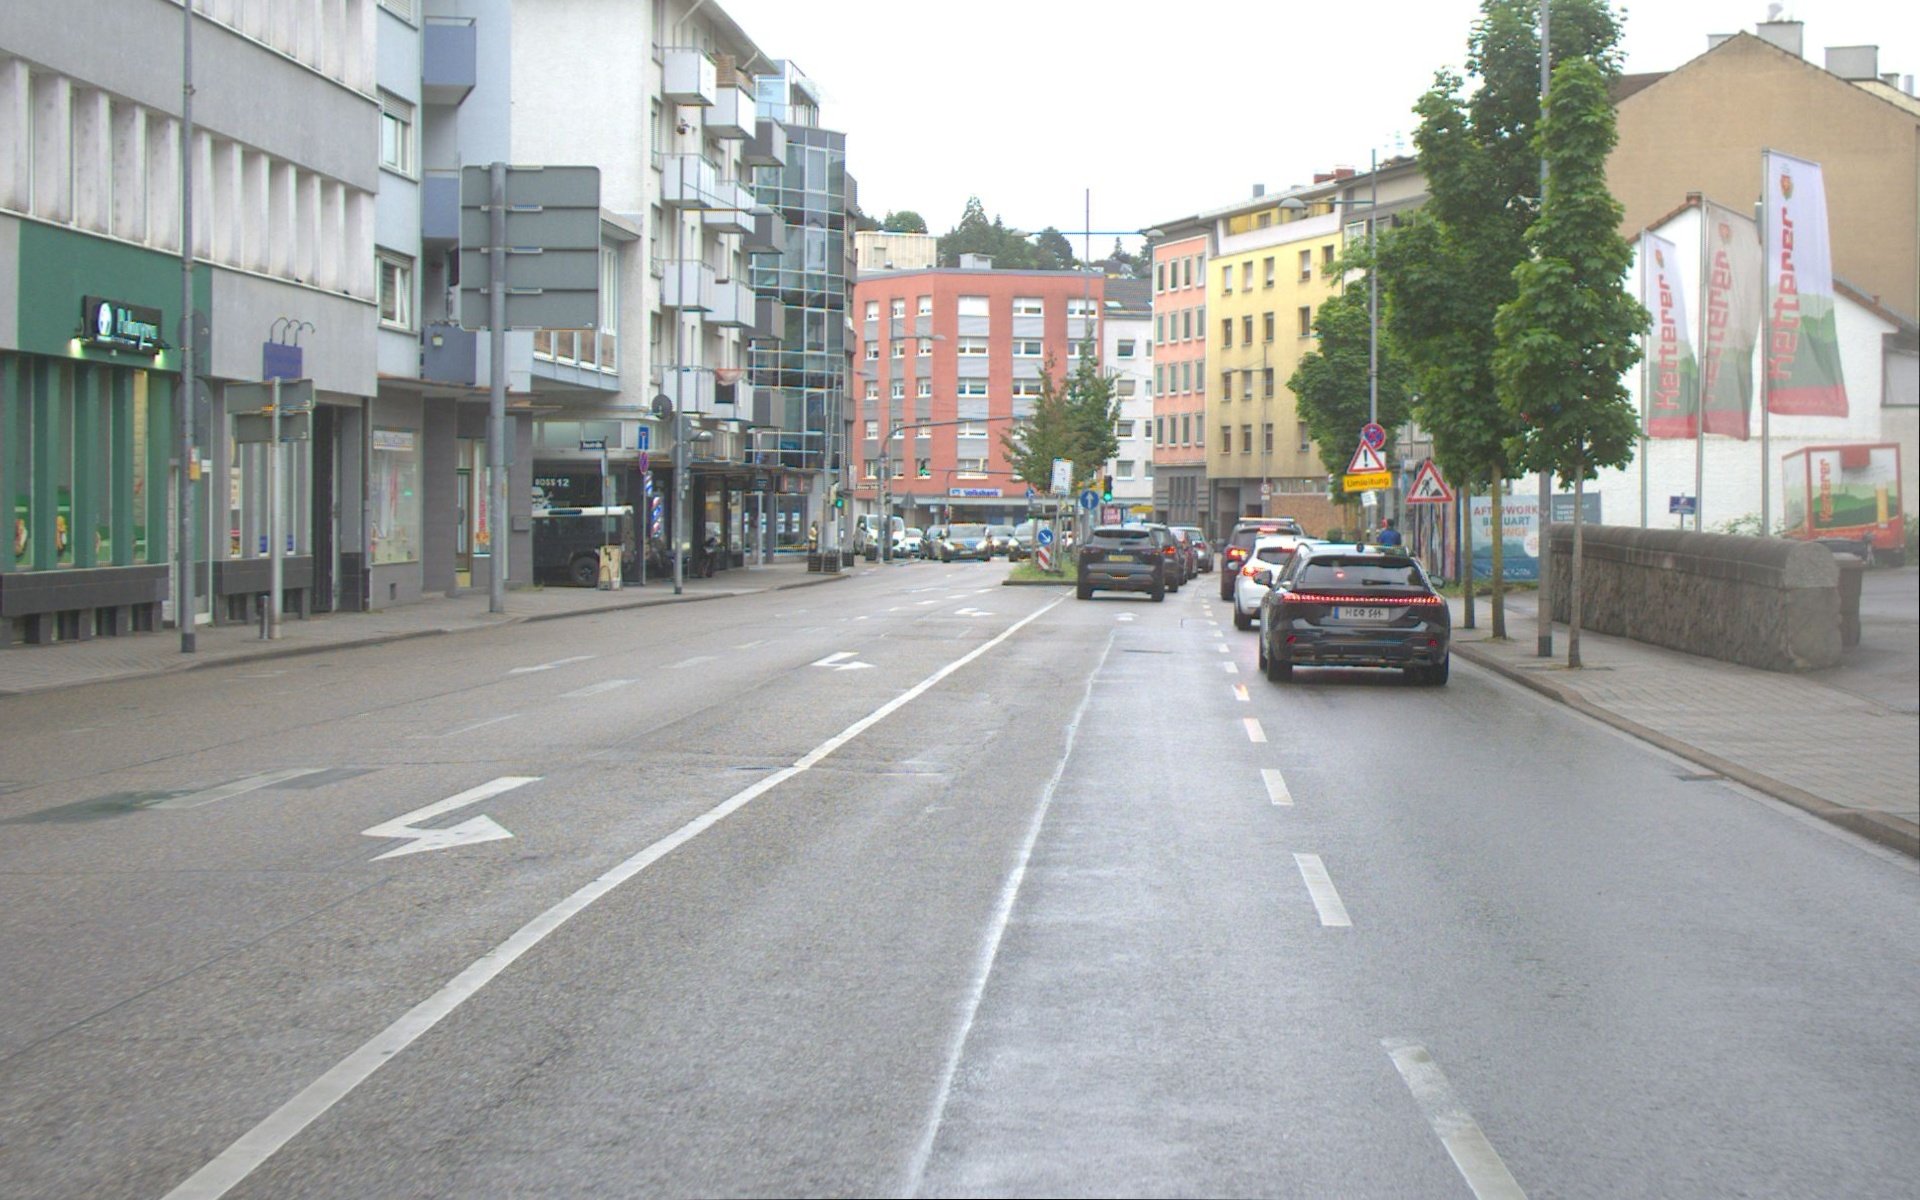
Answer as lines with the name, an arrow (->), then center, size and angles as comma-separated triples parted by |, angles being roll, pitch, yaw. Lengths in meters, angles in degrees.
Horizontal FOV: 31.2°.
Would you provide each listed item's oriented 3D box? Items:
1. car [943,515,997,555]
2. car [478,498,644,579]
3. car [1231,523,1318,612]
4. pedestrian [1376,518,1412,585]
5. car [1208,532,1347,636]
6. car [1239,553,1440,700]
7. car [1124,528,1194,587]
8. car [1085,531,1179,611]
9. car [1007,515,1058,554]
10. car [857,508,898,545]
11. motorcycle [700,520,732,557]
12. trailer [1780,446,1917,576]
car -> 0.405, -2.554, 135.244 | 1.708, 1.463, 4.828 | -2, 1, 5
car -> -10.135, -1.570, 87.380 | 3.964, 2.027, 1.580 | 0, 1, 5
car -> 7.030, -0.746, 76.698 | 1.831, 1.799, 3.718 | 2, 2, 6
pedestrian -> 11.504, -1.287, 91.111 | 0.792, 1.749, 0.871 | -1, 1, 17
car -> 4.967, -0.286, 54.216 | 1.665, 1.391, 3.867 | 4, 2, -1
car -> 3.994, 0.233, 36.803 | 1.789, 1.398, 4.633 | 1, 1, 2
car -> 4.797, -1.033, 83.005 | 1.641, 1.376, 3.348 | -1, 1, 3
car -> 3.685, -0.643, 73.366 | 1.823, 1.595, 3.718 | 2, 1, 5
car -> 2.789, -2.518, 131.492 | 1.720, 1.418, 4.165 | -2, 1, 4
car -> -3.674, -3.262, 153.235 | 1.549, 1.565, 3.349 | 2, 1, -5
motorcycle -> -6.893, -1.743, 97.130 | 0.526, 0.992, 2.136 | 2, 1, 5
trailer -> 19.704, -2.001, 76.448 | 2.127, 2.707, 5.390 | -2, 2, 6
